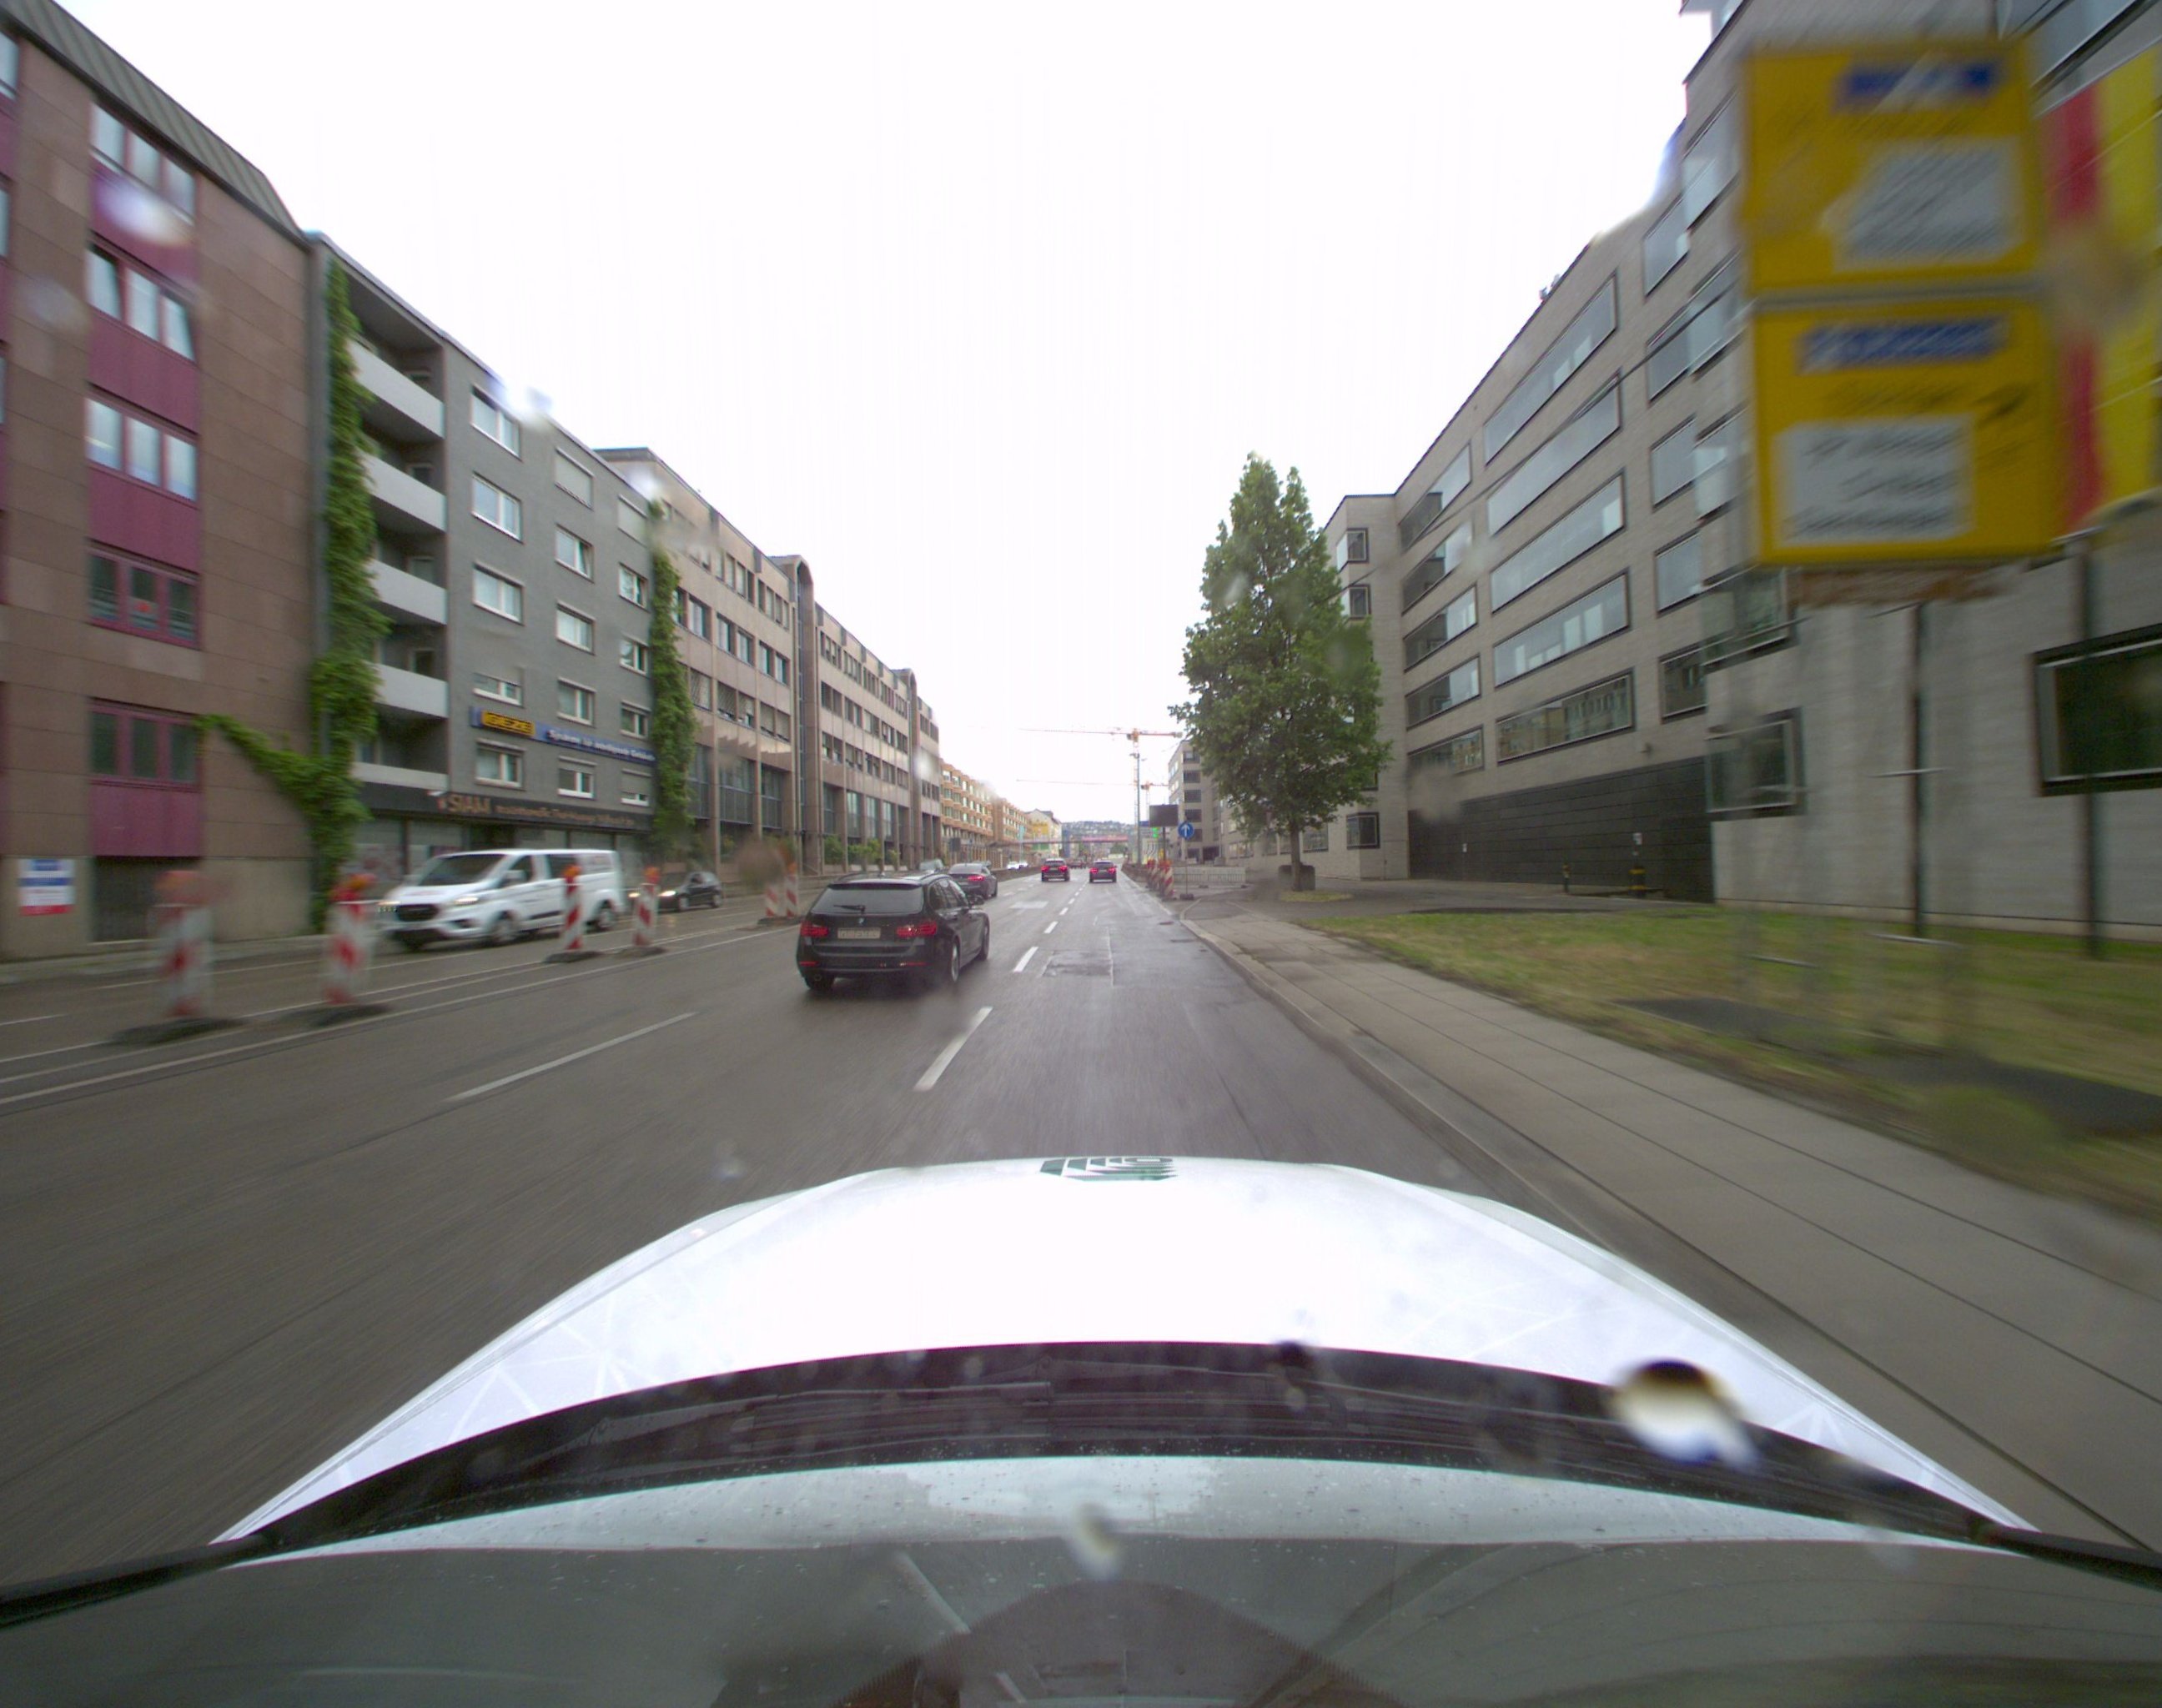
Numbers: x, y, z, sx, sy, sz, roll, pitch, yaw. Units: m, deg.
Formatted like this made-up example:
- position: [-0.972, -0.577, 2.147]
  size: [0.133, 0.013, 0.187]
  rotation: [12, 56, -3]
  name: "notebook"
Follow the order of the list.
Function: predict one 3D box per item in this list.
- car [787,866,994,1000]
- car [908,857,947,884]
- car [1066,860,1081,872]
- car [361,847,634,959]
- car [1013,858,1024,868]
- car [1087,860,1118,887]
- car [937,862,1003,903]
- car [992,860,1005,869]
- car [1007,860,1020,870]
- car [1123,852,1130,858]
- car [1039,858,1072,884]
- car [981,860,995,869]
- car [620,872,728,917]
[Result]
- position: [-2.343, 0.905, 11.290]
  size: [1.785, 1.426, 4.612]
  rotation: [0, 0, 0]
  name: "car"
- position: [-10.818, 1.145, 57.778]
  size: [1.714, 1.770, 4.427]
  rotation: [-3, 0, 2]
  name: "car"
- position: [-1.111, 1.774, 125.359]
  size: [1.891, 1.693, 4.005]
  rotation: [-3, 0, 5]
  name: "car"
- position: [-12.370, 0.927, 17.873]
  size: [1.986, 1.990, 5.290]
  rotation: [-3, 0, 1]
  name: "car"
- position: [-11.828, 1.686, 154.332]
  size: [1.814, 1.618, 4.192]
  rotation: [-3, 1, 1]
  name: "car"
- position: [1.497, 1.274, 54.948]
  size: [1.892, 1.693, 4.004]
  rotation: [-2, 0, 4]
  name: "car"
- position: [-4.403, 1.092, 33.009]
  size: [1.783, 1.426, 4.388]
  rotation: [-3, 0, 3]
  name: "car"
- position: [-17.064, 2.126, 169.024]
  size: [1.986, 1.620, 4.692]
  rotation: [-3, 0, 2]
  name: "car"
- position: [-11.004, 1.730, 133.422]
  size: [1.597, 1.442, 3.659]
  rotation: [-3, 1, 1]
  name: "car"
- position: [13.428, 0.380, 241.897]
  size: [1.891, 1.693, 4.005]
  rotation: [-3, 0, 5]
  name: "car"
- position: [-1.845, 1.208, 59.464]
  size: [1.891, 1.693, 4.005]
  rotation: [-3, 0, 5]
  name: "car"
- position: [-17.354, 1.984, 152.214]
  size: [1.986, 1.620, 4.320]
  rotation: [-3, 0, 2]
  name: "car"
- position: [-14.925, 1.445, 30.117]
  size: [1.692, 1.399, 4.024]
  rotation: [-3, 0, 3]
  name: "car"
